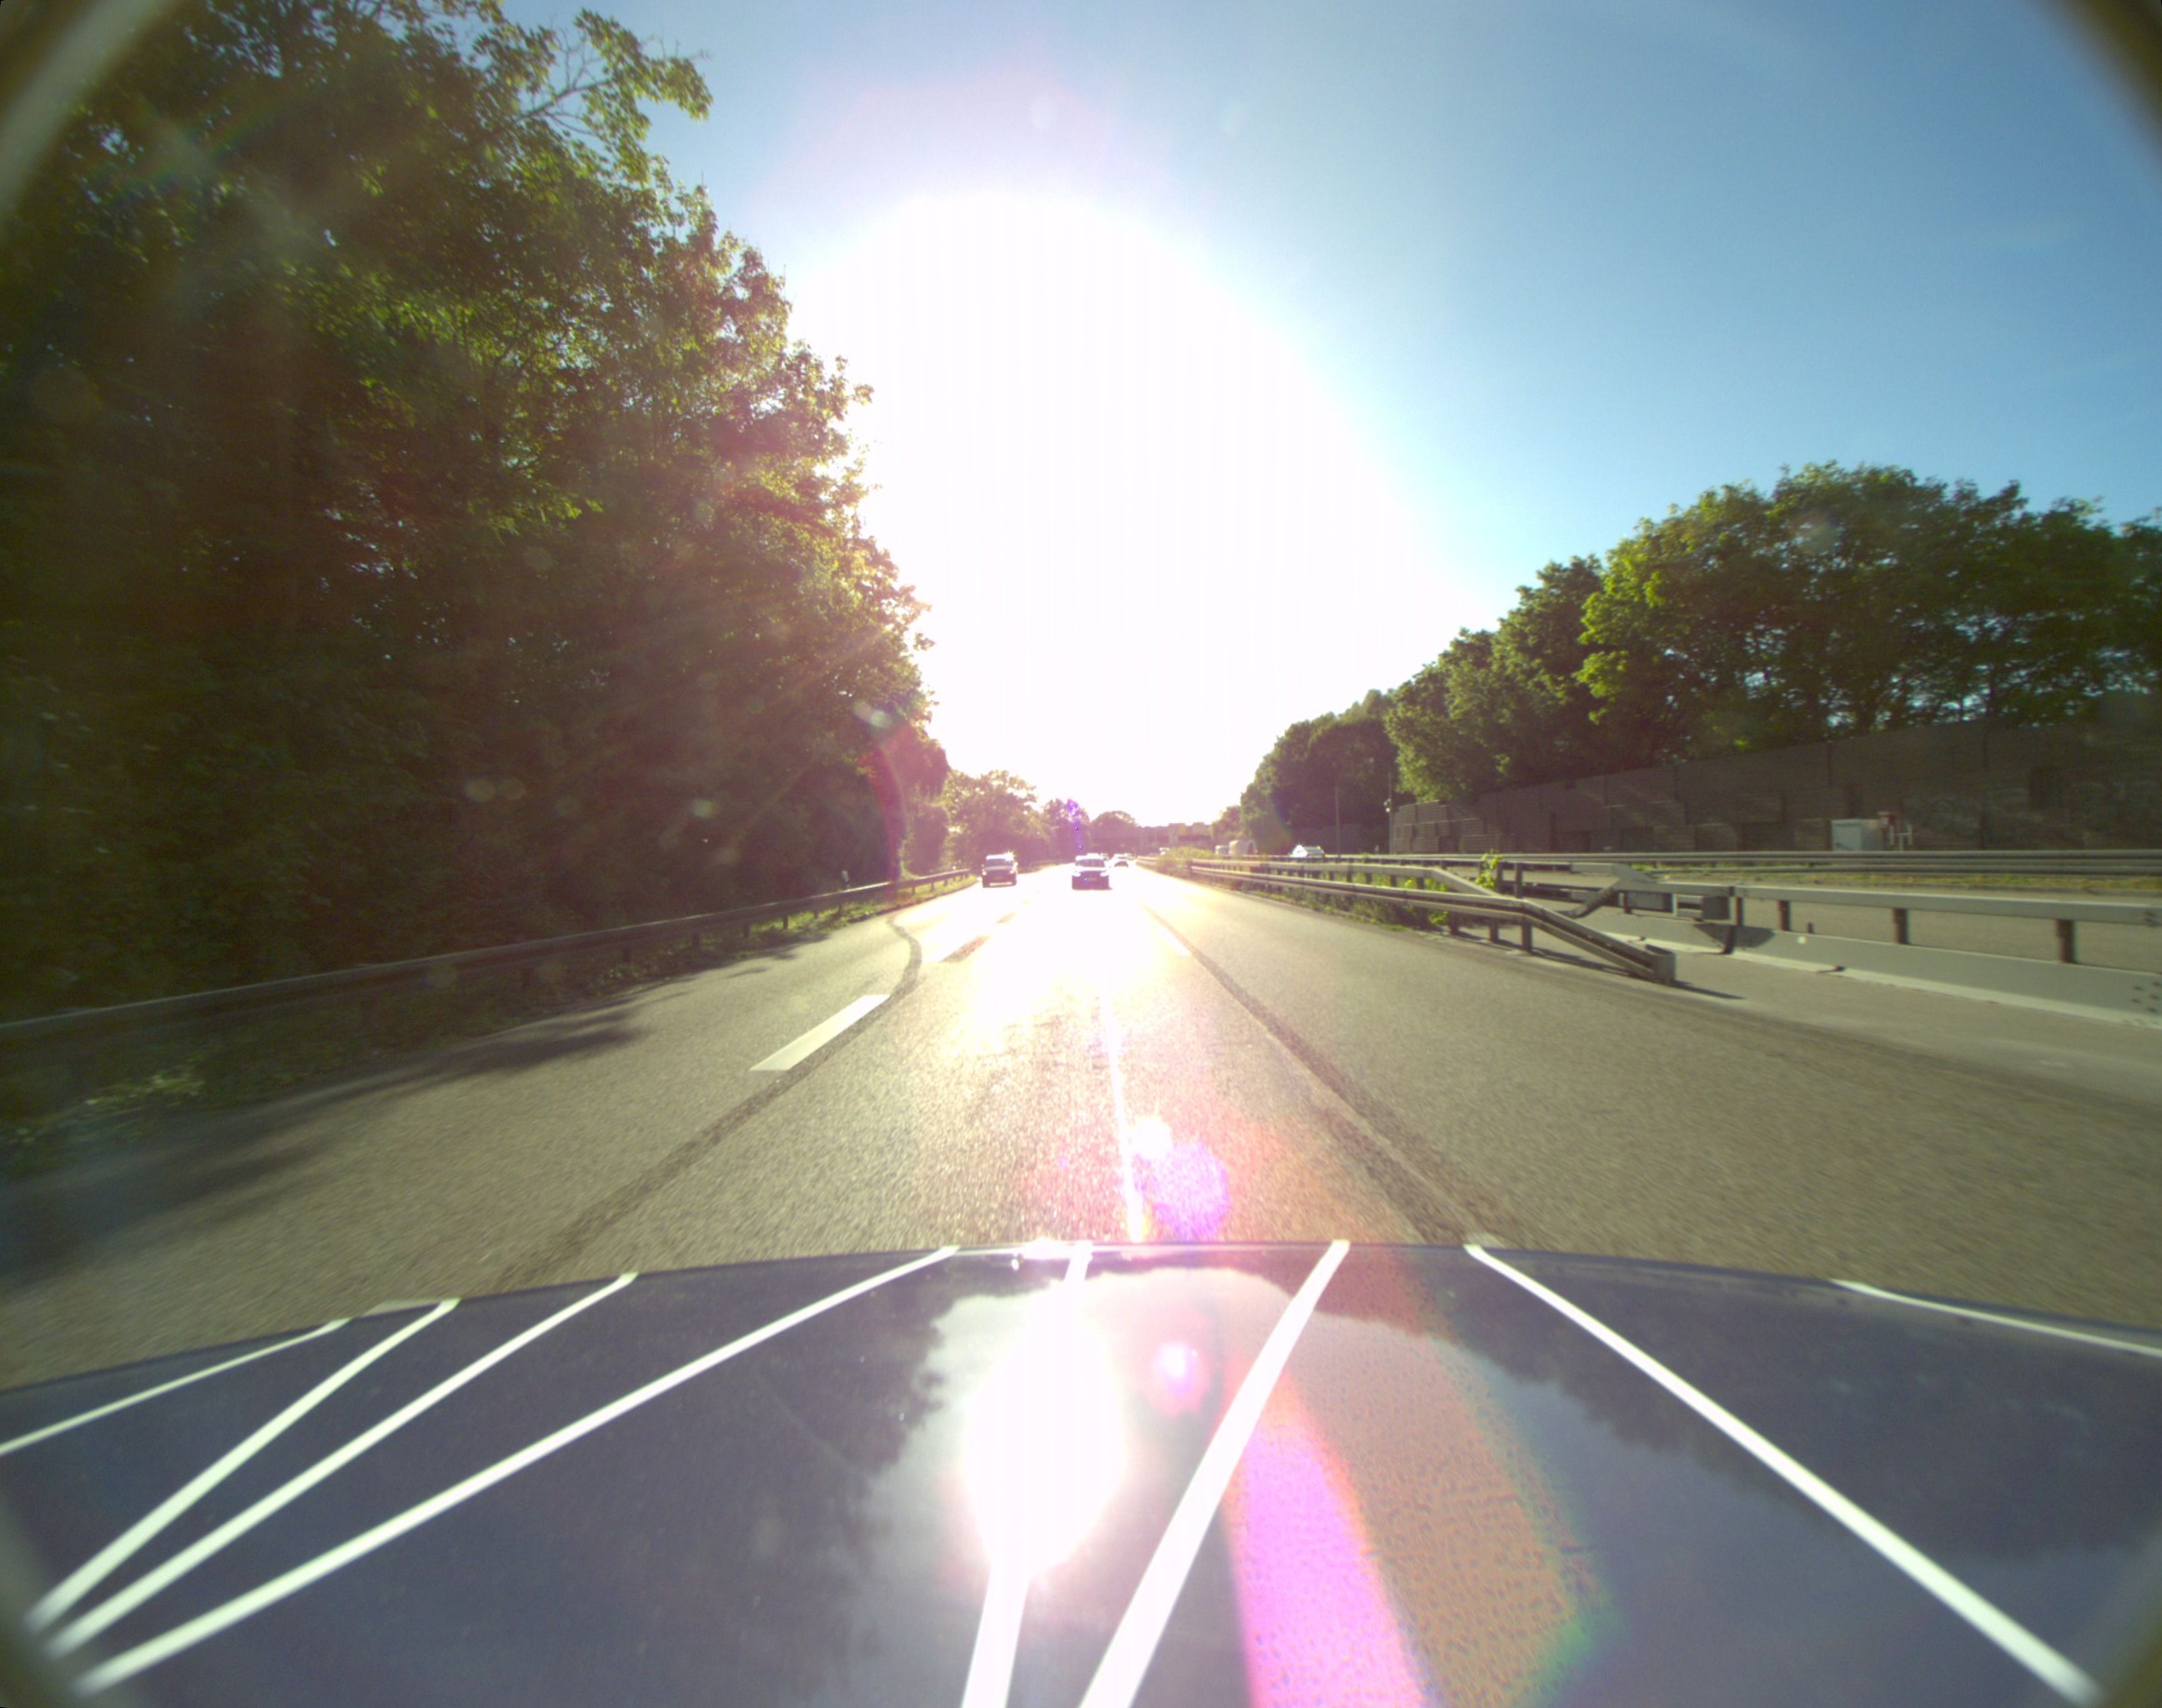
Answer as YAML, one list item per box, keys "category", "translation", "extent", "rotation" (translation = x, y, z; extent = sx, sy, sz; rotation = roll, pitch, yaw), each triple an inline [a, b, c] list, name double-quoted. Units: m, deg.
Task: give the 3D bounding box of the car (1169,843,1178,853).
- category: "car"
  translation: [26.621, -1.766, 217.961]
  extent: [2.125, 2.667, 6.590]
  rotation: [-4, 0, 5]

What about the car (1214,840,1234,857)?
- category: "car"
  translation: [21.425, -0.787, 114.001]
  extent: [2.081, 2.267, 5.376]
  rotation: [-4, 0, 4]

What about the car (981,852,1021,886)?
- category: "car"
  translation: [-4.261, 0.777, 40.983]
  extent: [1.746, 1.652, 4.000]
  rotation: [-4, 0, -2]

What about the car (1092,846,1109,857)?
- category: "car"
  translation: [2.769, -0.395, 106.974]
  extent: [1.998, 1.406, 4.832]
  rotation: [-2, 0, 4]

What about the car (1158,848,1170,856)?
- category: "car"
  translation: [17.299, -0.397, 158.451]
  extent: [1.826, 1.471, 4.621]
  rotation: [-4, 0, 1]

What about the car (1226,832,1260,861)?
- category: "car"
  translation: [16.218, -0.691, 76.425]
  extent: [2.152, 2.595, 6.052]
  rotation: [-4, 0, 1]

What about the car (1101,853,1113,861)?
- category: "car"
  translation: [5.168, 0.583, 149.625]
  extent: [1.998, 1.406, 4.832]
  rotation: [-2, 0, 5]

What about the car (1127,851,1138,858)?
- category: "car"
  translation: [10.481, 0.058, 154.454]
  extent: [1.998, 1.406, 4.832]
  rotation: [-2, 0, 5]

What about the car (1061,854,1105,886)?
- category: "car"
  translation: [0.171, 0.758, 38.108]
  extent: [1.998, 1.406, 4.831]
  rotation: [-1, 0, 3]

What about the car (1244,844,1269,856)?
- category: "car"
  translation: [22.191, -0.532, 96.347]
  extent: [2.002, 1.326, 4.096]
  rotation: [-4, 0, -3]

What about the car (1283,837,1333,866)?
- category: "car"
  translation: [15.360, -0.137, 51.645]
  extent: [1.998, 1.772, 4.786]
  rotation: [-4, 0, 2]

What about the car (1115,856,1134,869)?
- category: "car"
  translation: [5.009, 0.949, 87.707]
  extent: [1.998, 1.406, 4.831]
  rotation: [-2, 0, 3]
